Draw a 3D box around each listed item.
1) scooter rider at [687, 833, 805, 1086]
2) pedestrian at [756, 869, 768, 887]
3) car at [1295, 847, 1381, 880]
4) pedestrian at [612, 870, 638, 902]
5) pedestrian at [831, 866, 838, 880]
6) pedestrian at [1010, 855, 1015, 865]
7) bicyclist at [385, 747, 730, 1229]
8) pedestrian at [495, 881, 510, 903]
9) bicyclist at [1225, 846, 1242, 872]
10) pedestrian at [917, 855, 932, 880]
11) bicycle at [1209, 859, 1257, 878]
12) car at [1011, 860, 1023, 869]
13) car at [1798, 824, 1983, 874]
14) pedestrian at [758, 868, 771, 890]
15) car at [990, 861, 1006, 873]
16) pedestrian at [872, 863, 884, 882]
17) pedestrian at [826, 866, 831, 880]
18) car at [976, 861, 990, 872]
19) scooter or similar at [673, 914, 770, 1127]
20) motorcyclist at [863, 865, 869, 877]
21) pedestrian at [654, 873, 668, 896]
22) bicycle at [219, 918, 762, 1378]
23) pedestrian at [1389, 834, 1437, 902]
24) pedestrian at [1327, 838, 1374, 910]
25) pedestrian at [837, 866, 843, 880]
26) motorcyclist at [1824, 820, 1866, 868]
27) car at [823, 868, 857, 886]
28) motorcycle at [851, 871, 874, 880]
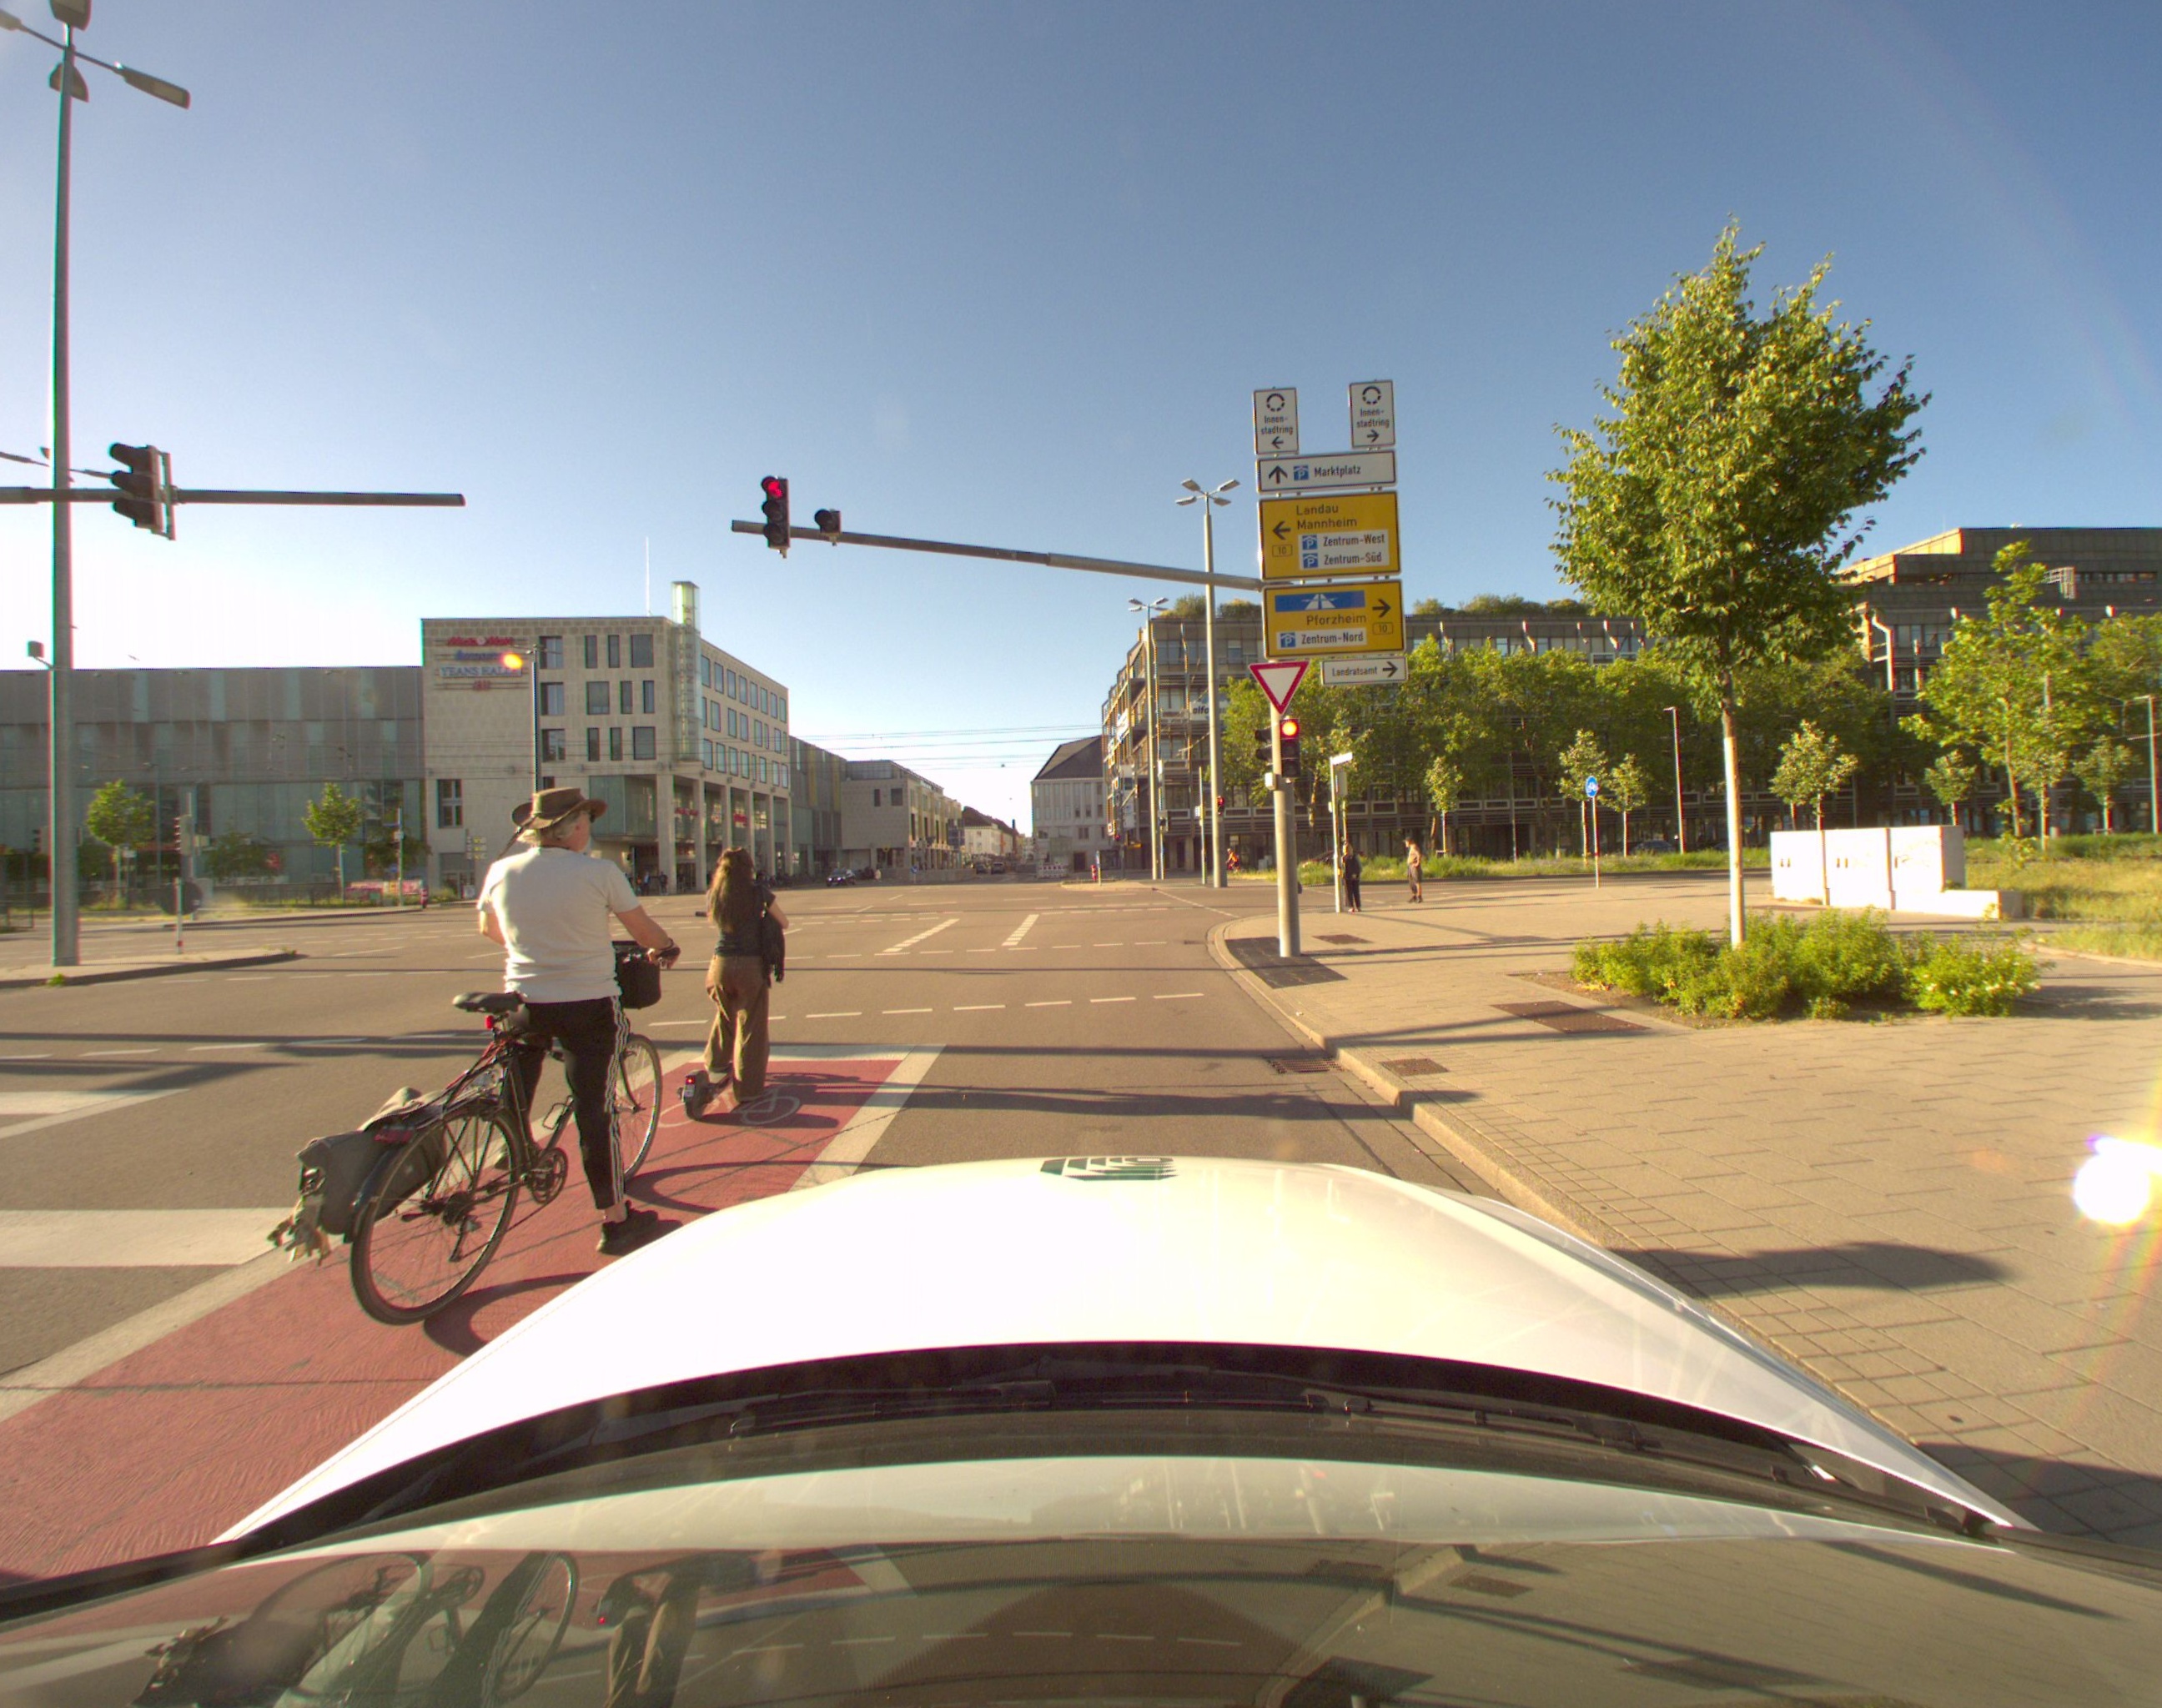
[{"bbox_3d":[-2.137,0.647,5.243,0.552,1.530,0.448,-2,0,-7],"label":"scooter rider"},{"bbox_3d":[-29.395,2.236,74.985,0.771,1.638,0.628,-2,0,14],"label":"pedestrian"},{"bbox_3d":[14.576,0.528,46.223,4.287,1.684,1.820,-2,0,-9],"label":"car"},{"bbox_3d":[-25.119,1.763,44.915,0.821,1.675,1.004,-2,0,-2],"label":"pedestrian"},{"bbox_3d":[-30.975,2.401,102.256,0.465,1.729,0.632,-1,-1,35],"label":"pedestrian"},{"bbox_3d":[-13.896,1.183,165.266,0.907,1.965,0.823,0,-1,1],"label":"pedestrian"},{"bbox_3d":[-2.060,0.480,3.343,0.802,1.700,0.852,-2,0,1],"label":"bicyclist"},{"bbox_3d":[-41.740,2.723,58.732,0.590,1.541,0.629,-2,0,1],"label":"pedestrian"},{"bbox_3d":[8.822,0.307,47.074,0.820,1.474,0.652,-2,0,-2],"label":"bicyclist"},{"bbox_3d":[-12.114,1.062,63.049,0.935,1.864,0.541,-2,0,18],"label":"pedestrian"},{"bbox_3d":[8.771,0.817,47.060,2.561,0.975,1.047,-2,0,-1],"label":"bicycle"},{"bbox_3d":[-11.468,1.823,146.481,1.652,1.458,3.543,-2,0,2],"label":"car"},{"bbox_3d":[28.975,-0.192,29.234,5.078,1.564,1.995,-2,0,-7],"label":"car"},{"bbox_3d":[-25.403,1.999,65.405,0.697,1.688,0.620,-2,0,2],"label":"pedestrian"},{"bbox_3d":[-11.012,1.746,108.532,1.652,1.458,3.543,-2,0,2],"label":"car"},{"bbox_3d":[-19.590,1.750,78.596,0.896,1.782,0.809,-2,0,1],"label":"pedestrian"},{"bbox_3d":[-32.045,2.418,103.378,0.465,1.729,0.524,-1,-1,40],"label":"pedestrian"},{"bbox_3d":[-15.401,1.956,127.931,1.815,1.684,3.996,-2,0,-2],"label":"car"},{"bbox_3d":[-2.163,0.957,4.960,0.306,1.107,0.835,-2,0,-9],"label":"scooter or similar"},{"bbox_3d":[-26.176,2.091,99.195,0.627,1.406,0.661,0,-1,-7],"label":"motorcyclist"},{"bbox_3d":[-30.852,2.238,59.815,0.590,1.646,0.629,-2,0,1],"label":"pedestrian"},{"bbox_3d":[-2.066,0.918,3.281,0.736,1.147,1.891,-2,0,2],"label":"bicycle"},{"bbox_3d":[8.578,0.360,21.051,0.869,1.706,0.768,-2,0,0],"label":"pedestrian"},{"bbox_3d":[6.231,0.457,18.890,0.763,1.614,0.874,-2,0,0],"label":"pedestrian"},{"bbox_3d":[-31.000,2.420,104.691,0.465,1.729,0.632,-1,-1,30],"label":"pedestrian"},{"bbox_3d":[24.216,-0.313,25.820,0.748,1.479,0.598,-2,0,-6],"label":"motorcyclist"},{"bbox_3d":[-20.801,1.993,70.477,1.670,1.357,4.021,-2,0,1],"label":"car"},{"bbox_3d":[-26.566,2.638,98.967,2.600,0.993,1.113,0,-1,-8],"label":"motorcycle"}]
